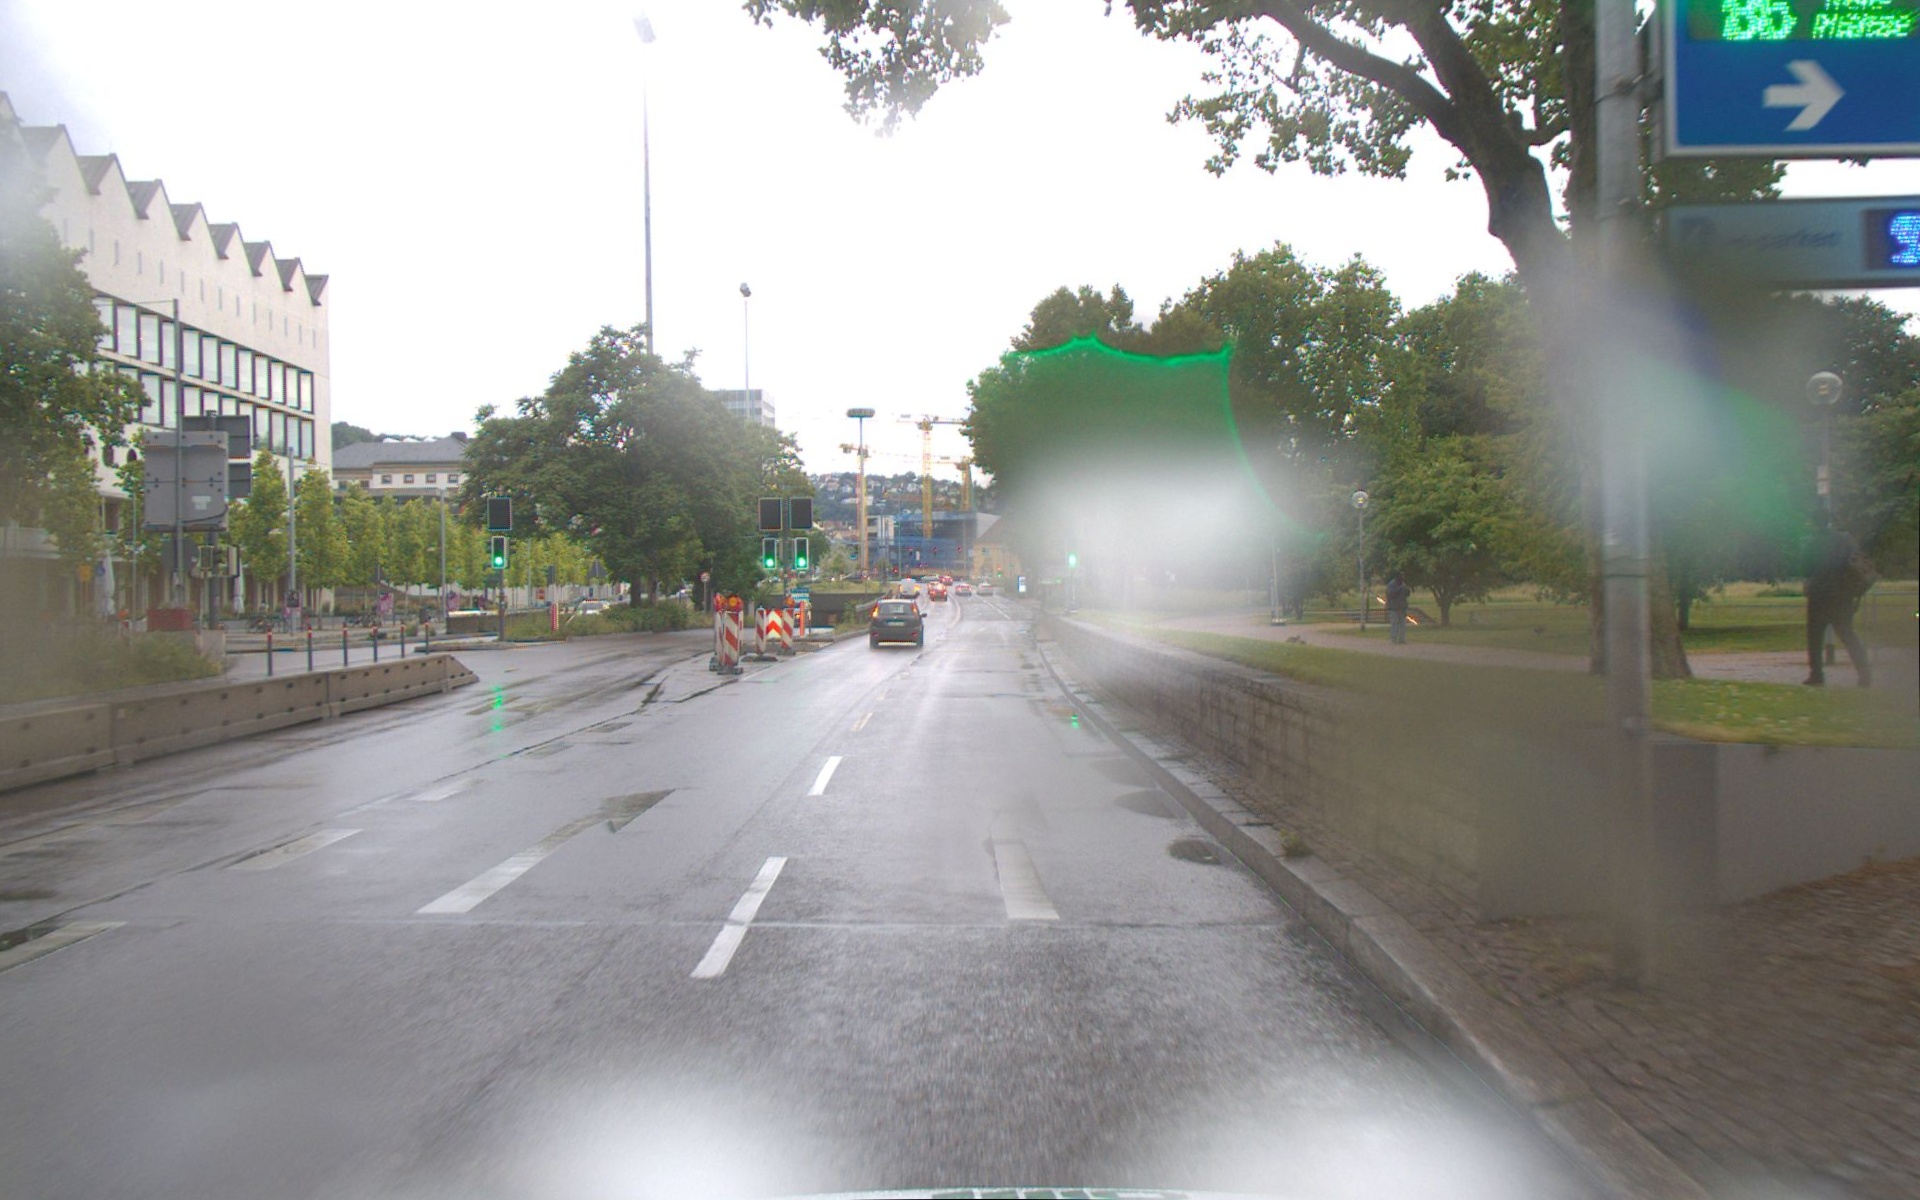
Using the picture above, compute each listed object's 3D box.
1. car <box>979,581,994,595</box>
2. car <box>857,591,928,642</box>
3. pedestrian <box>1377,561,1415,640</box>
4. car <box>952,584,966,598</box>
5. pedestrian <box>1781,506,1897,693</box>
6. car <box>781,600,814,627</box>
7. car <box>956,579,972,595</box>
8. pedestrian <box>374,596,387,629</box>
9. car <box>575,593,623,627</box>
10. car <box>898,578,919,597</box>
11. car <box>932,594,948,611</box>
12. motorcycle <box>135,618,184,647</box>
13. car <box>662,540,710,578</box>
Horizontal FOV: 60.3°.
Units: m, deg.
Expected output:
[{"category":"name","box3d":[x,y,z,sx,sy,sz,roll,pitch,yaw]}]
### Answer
[{"category":"car","box3d":[3.529,-1.603,221.563,1.952,1.627,4.000,-3,-1,2]},{"category":"car","box3d":[-2.120,0.484,51.200,1.809,1.441,3.832,-2,0,-8]},{"category":"pedestrian","box3d":[9.999,0.004,37.953,0.583,1.786,0.725,-2,1,-4]},{"category":"car","box3d":[-0.115,-1.187,223.529,1.677,1.719,3.849,-2,-1,2]},{"category":"pedestrian","box3d":[8.522,-0.007,16.056,0.691,1.748,0.692,-2,0,-1]},{"category":"car","box3d":[-11.550,0.916,117.613,1.953,1.812,4.000,-1,0,0]},{"category":"car","box3d":[0.519,-1.706,217.998,1.947,2.049,3.999,-2,-1,0]},{"category":"pedestrian","box3d":[-36.336,0.789,103.704,0.535,2.049,0.524,-2,-1,-36]},{"category":"car","box3d":[-21.397,0.635,98.218,1.954,1.872,4.889,-2,-1,-3]},{"category":"car","box3d":[-6.292,-1.512,201.306,2.173,2.049,4.001,1,-1,3]},{"category":"car","box3d":[-2.329,0.266,191.326,1.703,1.802,3.999,-2,-1,0]},{"category":"motorcycle","box3d":[-33.997,1.369,70.256,1.814,1.174,0.423,-2,0,-29]},{"category":"car","box3d":[-12.778,-1.882,77.269,1.955,1.661,3.995,-1,0,-6]}]
